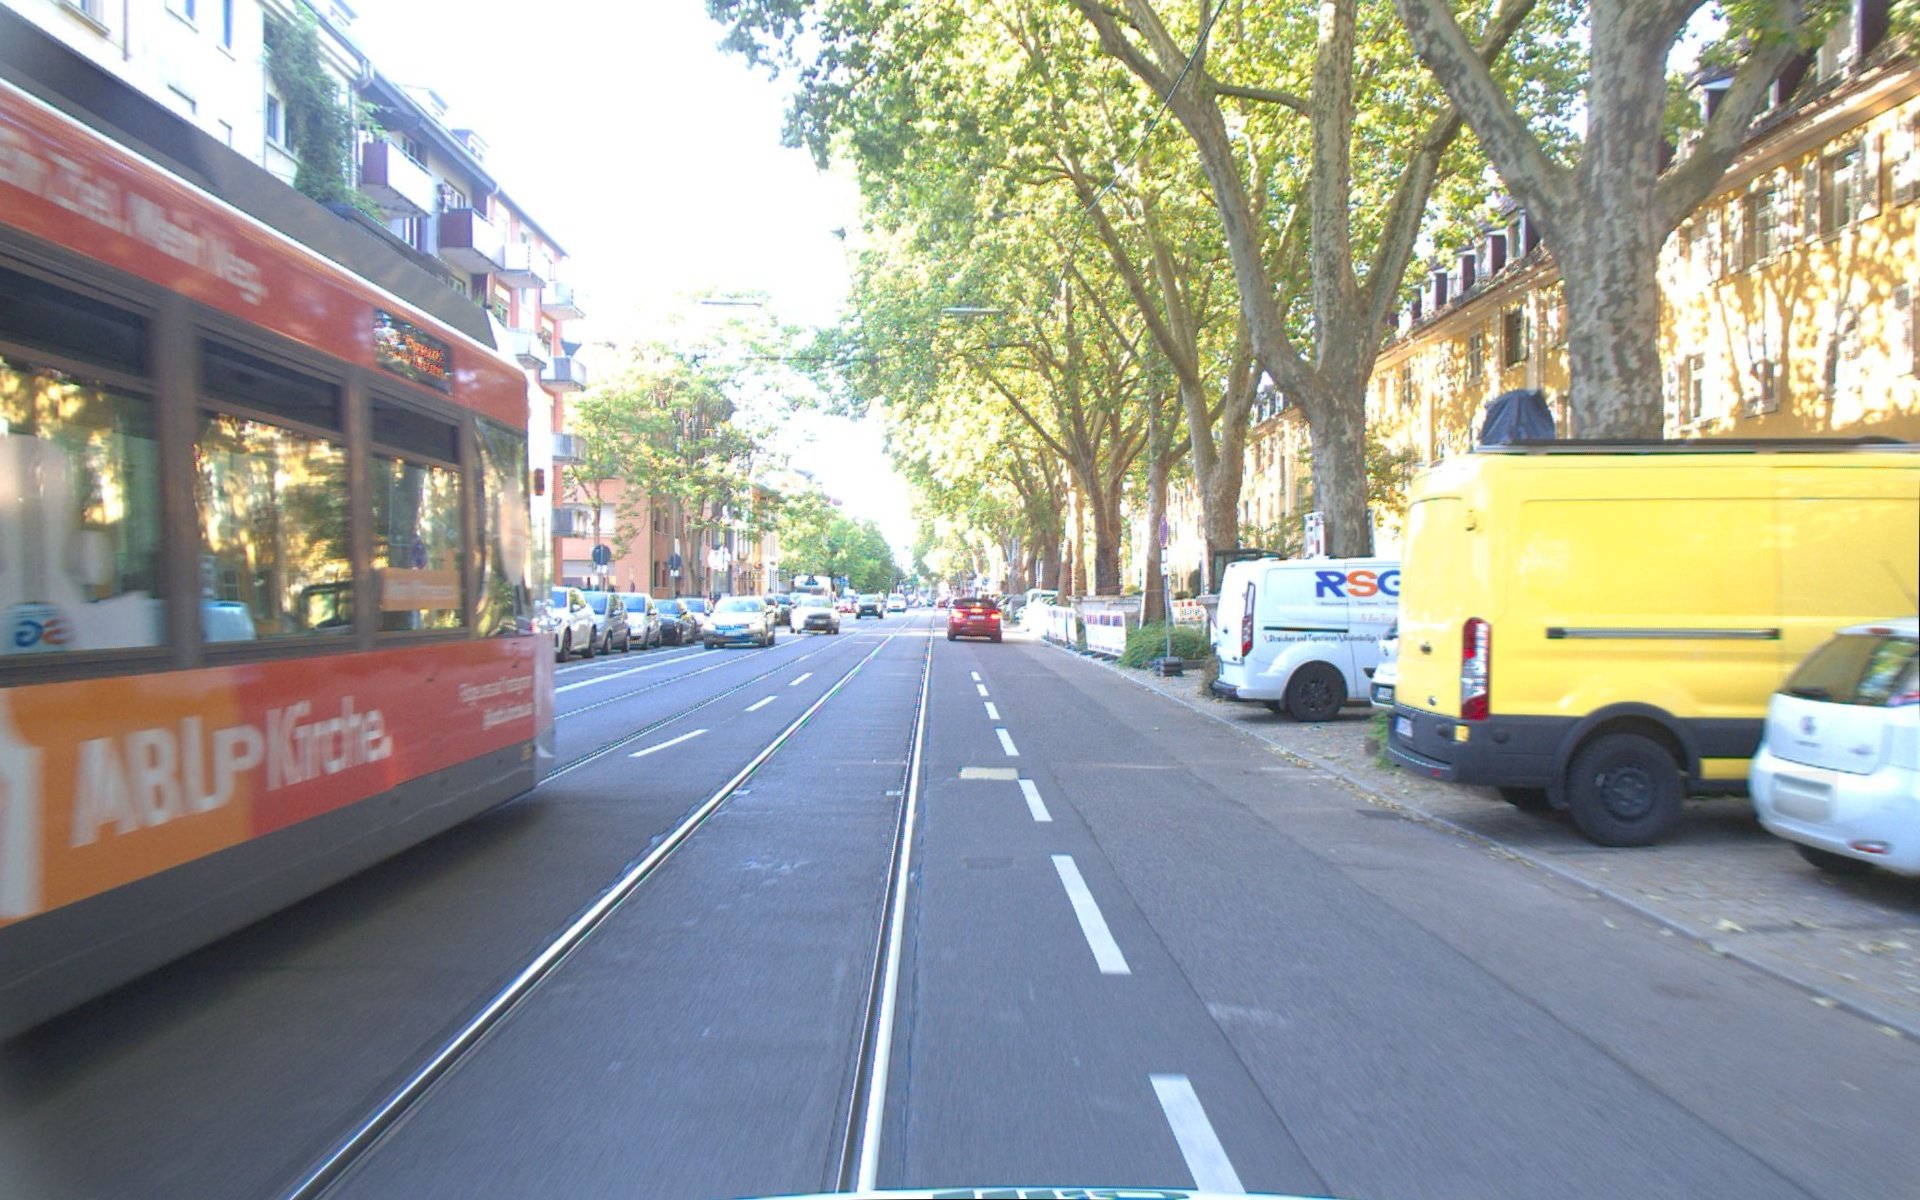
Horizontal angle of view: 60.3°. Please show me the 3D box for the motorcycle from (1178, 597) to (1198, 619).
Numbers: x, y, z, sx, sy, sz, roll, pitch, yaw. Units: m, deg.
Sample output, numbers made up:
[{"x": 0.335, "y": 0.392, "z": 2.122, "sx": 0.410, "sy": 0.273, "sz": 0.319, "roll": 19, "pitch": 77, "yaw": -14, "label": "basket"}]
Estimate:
[{"x": 12.166, "y": 0.413, "z": 88.280, "sx": 0.700, "sy": 1.173, "sz": 2.263, "roll": -1, "pitch": 0, "yaw": -1, "label": "motorcycle"}]

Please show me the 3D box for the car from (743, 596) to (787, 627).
[{"x": -10.264, "y": 0.587, "z": 87.134, "sx": 1.769, "sy": 1.504, "sz": 4.089, "roll": 2, "pitch": 0, "yaw": 0, "label": "car"}]

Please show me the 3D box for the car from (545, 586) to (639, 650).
[{"x": -9.601, "y": 0.472, "z": 43.400, "sx": 1.592, "sy": 1.599, "sz": 3.781, "roll": 0, "pitch": 0, "yaw": 0, "label": "car"}]

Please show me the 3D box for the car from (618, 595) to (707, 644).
[{"x": -9.566, "y": 0.603, "z": 53.513, "sx": 1.912, "sy": 1.419, "sz": 4.862, "roll": 3, "pitch": 0, "yaw": 0, "label": "car"}]

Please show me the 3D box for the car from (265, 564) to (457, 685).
[{"x": -9.604, "y": 0.353, "z": 26.889, "sx": 1.753, "sy": 1.802, "sz": 4.467, "roll": 0, "pitch": 0, "yaw": -4, "label": "car"}]

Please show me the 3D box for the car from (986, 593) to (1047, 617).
[{"x": 4.175, "y": 0.368, "z": 121.253, "sx": 4.402, "sy": 1.630, "sz": 2.028, "roll": -2, "pitch": 0, "yaw": 3, "label": "car"}]

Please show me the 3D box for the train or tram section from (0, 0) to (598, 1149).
[{"x": -3.966, "y": -0.326, "z": 4.997, "sx": 2.849, "sy": 3.547, "sz": 14.195, "roll": 0, "pitch": 0, "yaw": -1, "label": "train or tram section"}]

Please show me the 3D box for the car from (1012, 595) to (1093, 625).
[{"x": 4.940, "y": 0.513, "z": 88.530, "sx": 4.279, "sy": 1.569, "sz": 1.802, "roll": 0, "pitch": 1, "yaw": 3, "label": "car"}]

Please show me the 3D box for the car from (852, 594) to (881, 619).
[{"x": -6.489, "y": 0.453, "z": 114.654, "sx": 1.816, "sy": 1.628, "sz": 4.462, "roll": 3, "pitch": 0, "yaw": -2, "label": "car"}]

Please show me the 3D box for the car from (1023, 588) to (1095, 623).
[{"x": 5.172, "y": 0.292, "z": 86.510, "sx": 3.764, "sy": 1.803, "sz": 1.917, "roll": 0, "pitch": 0, "yaw": 3, "label": "car"}]

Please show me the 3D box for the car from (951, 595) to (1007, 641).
[{"x": 0.585, "y": 0.576, "z": 54.830, "sx": 1.756, "sy": 1.413, "sz": 4.236, "roll": 1, "pitch": 0, "yaw": 0, "label": "car"}]

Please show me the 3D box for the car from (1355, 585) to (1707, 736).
[{"x": 6.132, "y": 0.623, "z": 18.001, "sx": 3.237, "sy": 1.566, "sz": 1.697, "roll": 0, "pitch": 0, "yaw": -3, "label": "car"}]

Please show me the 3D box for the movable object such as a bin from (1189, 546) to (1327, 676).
[{"x": 5.665, "y": 0.183, "z": 31.216, "sx": 1.455, "sy": 2.309, "sz": 3.268, "roll": 0, "pitch": 0, "yaw": 32, "label": "movable object such as a bin"}]

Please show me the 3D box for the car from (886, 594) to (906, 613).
[{"x": -6.206, "y": 0.325, "z": 161.665, "sx": 1.853, "sy": 1.864, "sz": 4.894, "roll": 0, "pitch": 0, "yaw": -1, "label": "car"}]

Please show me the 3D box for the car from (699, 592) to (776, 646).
[{"x": -6.529, "y": 0.531, "z": 48.919, "sx": 1.759, "sy": 1.471, "sz": 4.715, "roll": 2, "pitch": 0, "yaw": -2, "label": "car"}]

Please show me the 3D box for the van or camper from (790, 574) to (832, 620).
[{"x": -10.731, "y": -0.228, "z": 119.503, "sx": 2.290, "sy": 3.094, "sz": 6.397, "roll": 3, "pitch": 0, "yaw": 0, "label": "van or camper"}]

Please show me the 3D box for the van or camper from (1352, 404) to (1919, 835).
[{"x": 5.882, "y": 0.128, "z": 11.468, "sx": 5.803, "sy": 2.675, "sz": 2.270, "roll": 0, "pitch": -1, "yaw": 1, "label": "van or camper"}]

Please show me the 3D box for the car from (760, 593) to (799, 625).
[{"x": -10.066, "y": 0.472, "z": 92.488, "sx": 1.745, "sy": 1.638, "sz": 4.586, "roll": 3, "pitch": 0, "yaw": -2, "label": "car"}]

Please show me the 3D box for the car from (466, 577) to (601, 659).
[{"x": -9.604, "y": 0.395, "z": 37.660, "sx": 1.913, "sy": 1.677, "sz": 4.880, "roll": 2, "pitch": 0, "yaw": -2, "label": "car"}]

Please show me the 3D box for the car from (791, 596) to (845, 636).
[{"x": -5.537, "y": 0.598, "z": 64.981, "sx": 1.759, "sy": 1.471, "sz": 4.052, "roll": -1, "pitch": 0, "yaw": -1, "label": "car"}]

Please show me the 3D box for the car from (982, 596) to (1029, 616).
[{"x": 3.884, "y": 0.476, "z": 141.348, "sx": 3.845, "sy": 1.699, "sz": 1.960, "roll": 0, "pitch": 0, "yaw": -3, "label": "car"}]

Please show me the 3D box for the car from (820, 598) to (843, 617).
[{"x": -11.068, "y": 0.601, "z": 142.705, "sx": 1.799, "sy": 1.494, "sz": 5.066, "roll": 3, "pitch": 0, "yaw": -3, "label": "car"}]

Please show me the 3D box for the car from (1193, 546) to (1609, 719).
[{"x": 5.488, "y": 0.384, "z": 21.045, "sx": 4.736, "sy": 2.048, "sz": 2.063, "roll": 0, "pitch": 0, "yaw": -1, "label": "car"}]

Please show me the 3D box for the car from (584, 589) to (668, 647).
[{"x": -9.728, "y": 0.500, "z": 48.394, "sx": 1.783, "sy": 1.614, "sz": 4.003, "roll": 1, "pitch": 0, "yaw": -3, "label": "car"}]

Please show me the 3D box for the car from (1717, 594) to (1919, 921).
[{"x": 6.293, "y": 0.723, "z": 8.646, "sx": 3.825, "sy": 1.515, "sz": 1.863, "roll": 0, "pitch": 0, "yaw": 1, "label": "car"}]

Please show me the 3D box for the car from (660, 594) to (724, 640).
[{"x": -9.505, "y": 0.573, "z": 58.927, "sx": 1.690, "sy": 1.509, "sz": 3.929, "roll": 2, "pitch": 0, "yaw": -2, "label": "car"}]

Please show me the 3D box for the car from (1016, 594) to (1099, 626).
[{"x": 4.822, "y": 0.496, "z": 82.221, "sx": 4.005, "sy": 1.548, "sz": 1.916, "roll": 0, "pitch": -1, "yaw": -2, "label": "car"}]
